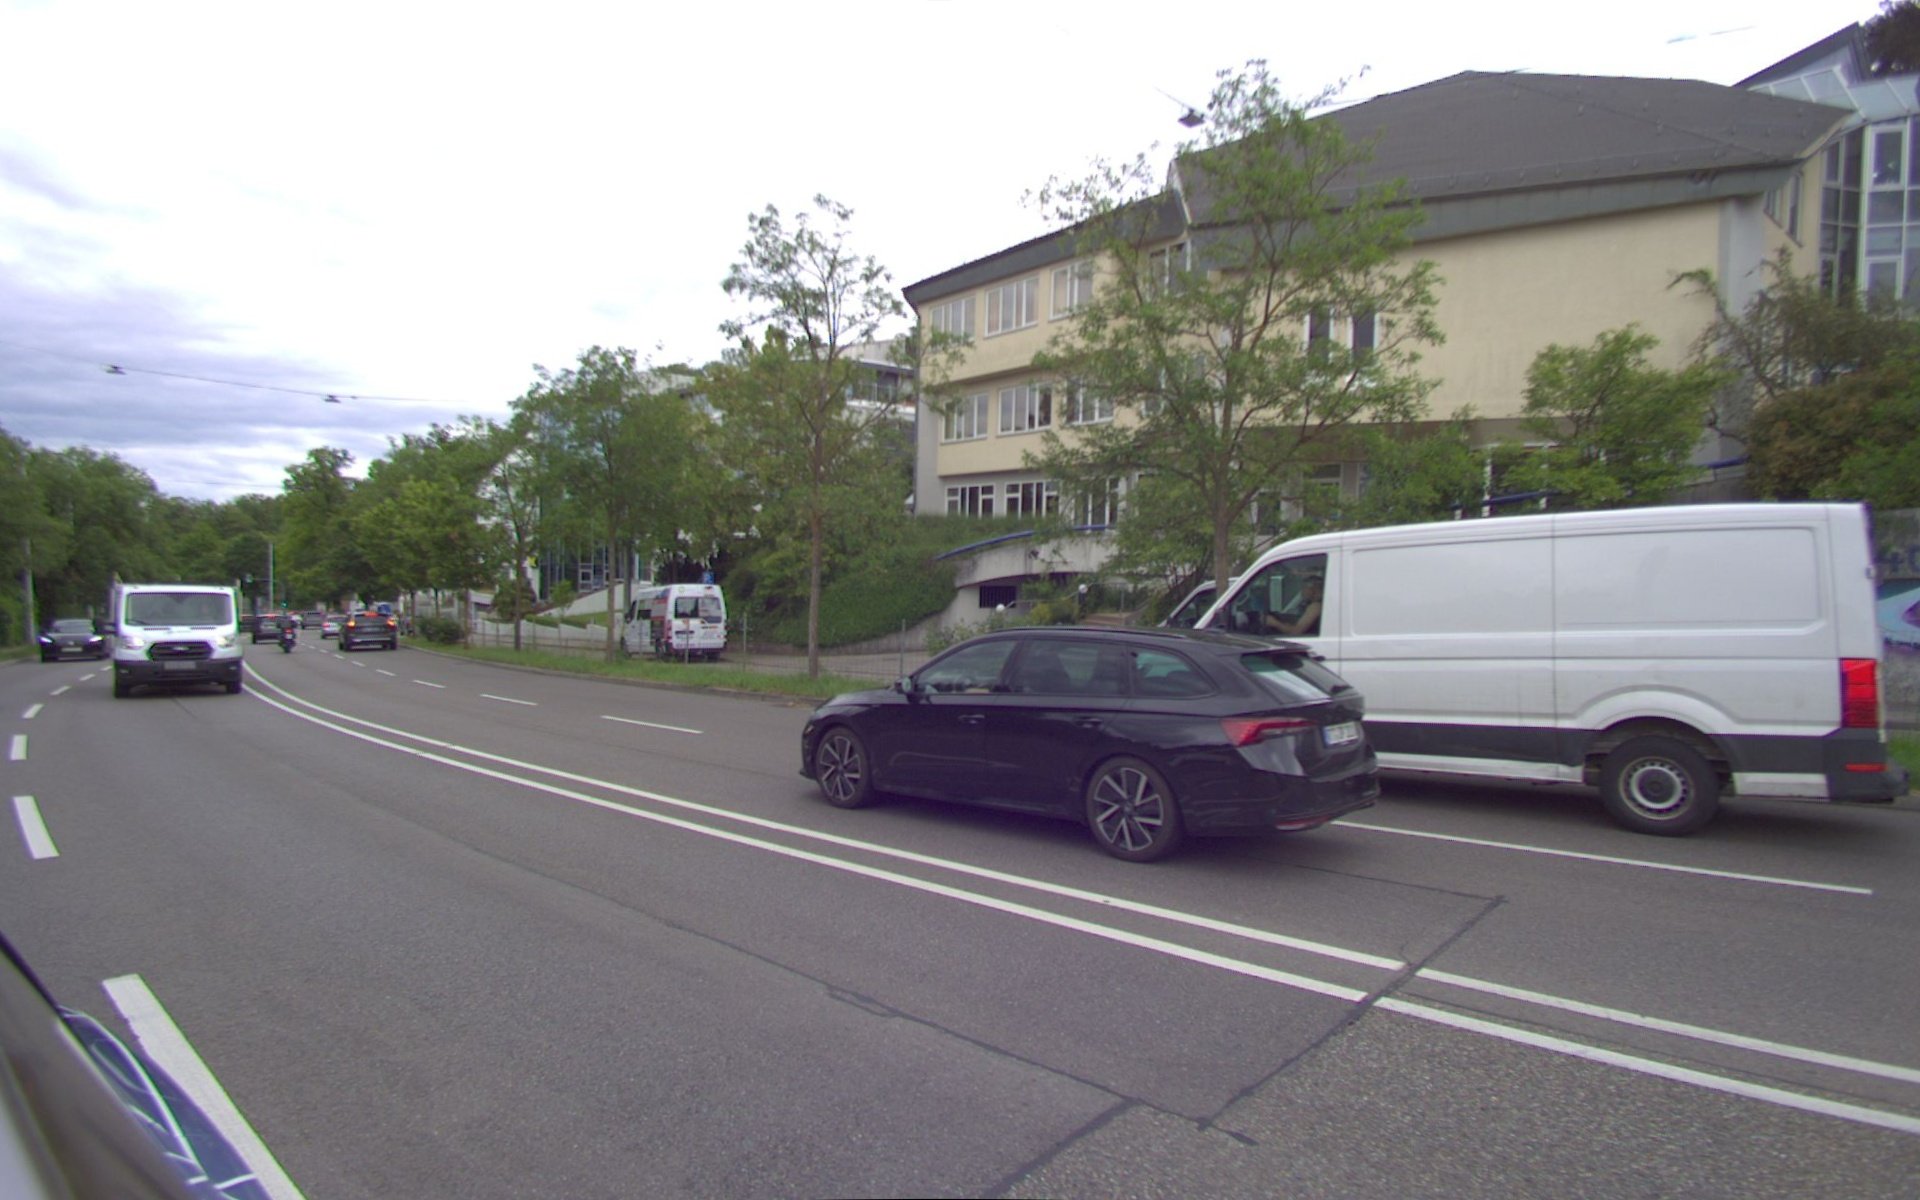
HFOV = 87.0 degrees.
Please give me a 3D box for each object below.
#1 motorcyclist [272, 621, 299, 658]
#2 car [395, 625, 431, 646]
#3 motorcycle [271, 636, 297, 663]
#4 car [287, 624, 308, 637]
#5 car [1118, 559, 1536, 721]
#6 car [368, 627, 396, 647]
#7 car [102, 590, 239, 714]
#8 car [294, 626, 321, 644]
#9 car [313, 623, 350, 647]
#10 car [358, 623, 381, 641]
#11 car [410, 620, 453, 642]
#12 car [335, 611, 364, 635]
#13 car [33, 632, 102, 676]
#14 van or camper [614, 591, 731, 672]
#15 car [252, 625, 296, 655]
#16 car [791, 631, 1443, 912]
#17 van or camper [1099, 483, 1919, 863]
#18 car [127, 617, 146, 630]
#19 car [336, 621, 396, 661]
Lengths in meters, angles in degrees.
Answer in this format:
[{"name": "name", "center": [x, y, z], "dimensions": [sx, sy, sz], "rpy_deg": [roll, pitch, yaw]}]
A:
[{"name": "motorcyclist", "center": [-27.409, 1.605, 41.108], "dimensions": [0.751, 1.496, 0.962], "rpy_deg": [3, -4, -41]}, {"name": "car", "center": [-38.907, 2.509, 71.949], "dimensions": [1.651, 1.439, 4.099], "rpy_deg": [0, -1, -36]}, {"name": "motorcycle", "center": [-27.503, 1.998, 41.157], "dimensions": [0.477, 1.064, 2.270], "rpy_deg": [1, -2, -43]}, {"name": "car", "center": [-78.438, 3.630, 119.852], "dimensions": [1.559, 1.453, 3.299], "rpy_deg": [-1, -1, -42]}, {"name": "car", "center": [6.011, 0.639, 17.279], "dimensions": [6.323, 2.290, 2.244], "rpy_deg": [-2, -1, 41]}, {"name": "car", "center": [-46.560, 2.942, 81.495], "dimensions": [1.646, 1.515, 4.248], "rpy_deg": [0, -1, -35]}, {"name": "car", "center": [-16.442, 1.020, 21.095], "dimensions": [1.968, 2.190, 6.280], "rpy_deg": [-1, -2, -38]}, {"name": "car", "center": [-64.962, 3.451, 100.720], "dimensions": [1.741, 1.721, 4.879], "rpy_deg": [-1, -1, -39]}, {"name": "car", "center": [-39.576, 2.204, 63.690], "dimensions": [1.545, 1.442, 3.899], "rpy_deg": [-1, -1, -37]}, {"name": "car", "center": [-60.933, 3.273, 104.367], "dimensions": [1.782, 1.764, 4.262], "rpy_deg": [-2, 0, -33]}, {"name": "car", "center": [-35.382, 2.065, 67.743], "dimensions": [1.652, 1.439, 4.426], "rpy_deg": [3, -3, -39]}, {"name": "car", "center": [-70.235, 2.646, 116.354], "dimensions": [1.968, 2.545, 6.545], "rpy_deg": [-2, 0, -39]}, {"name": "car", "center": [-32.677, 1.935, 37.129], "dimensions": [1.707, 1.421, 4.007], "rpy_deg": [-1, -1, -39]}, {"name": "van or camper", "center": [-9.682, 1.022, 33.747], "dimensions": [1.967, 2.492, 5.724], "rpy_deg": [0, -1, -35]}, {"name": "car", "center": [-37.960, 2.200, 55.964], "dimensions": [1.762, 1.550, 4.084], "rpy_deg": [0, -1, -37]}, {"name": "car", "center": [0.862, 0.962, 7.307], "dimensions": [4.427, 1.425, 1.717], "rpy_deg": [-2, -2, 41]}, {"name": "van or camper", "center": [4.268, 0.518, 8.664], "dimensions": [5.958, 2.278, 1.988], "rpy_deg": [-2, -2, 41]}, {"name": "car", "center": [-124.319, 3.495, 152.715], "dimensions": [1.970, 1.906, 4.004], "rpy_deg": [1, -2, -43]}, {"name": "car", "center": [-25.127, 1.698, 42.738], "dimensions": [1.761, 1.587, 4.478], "rpy_deg": [1, -2, -36]}]
